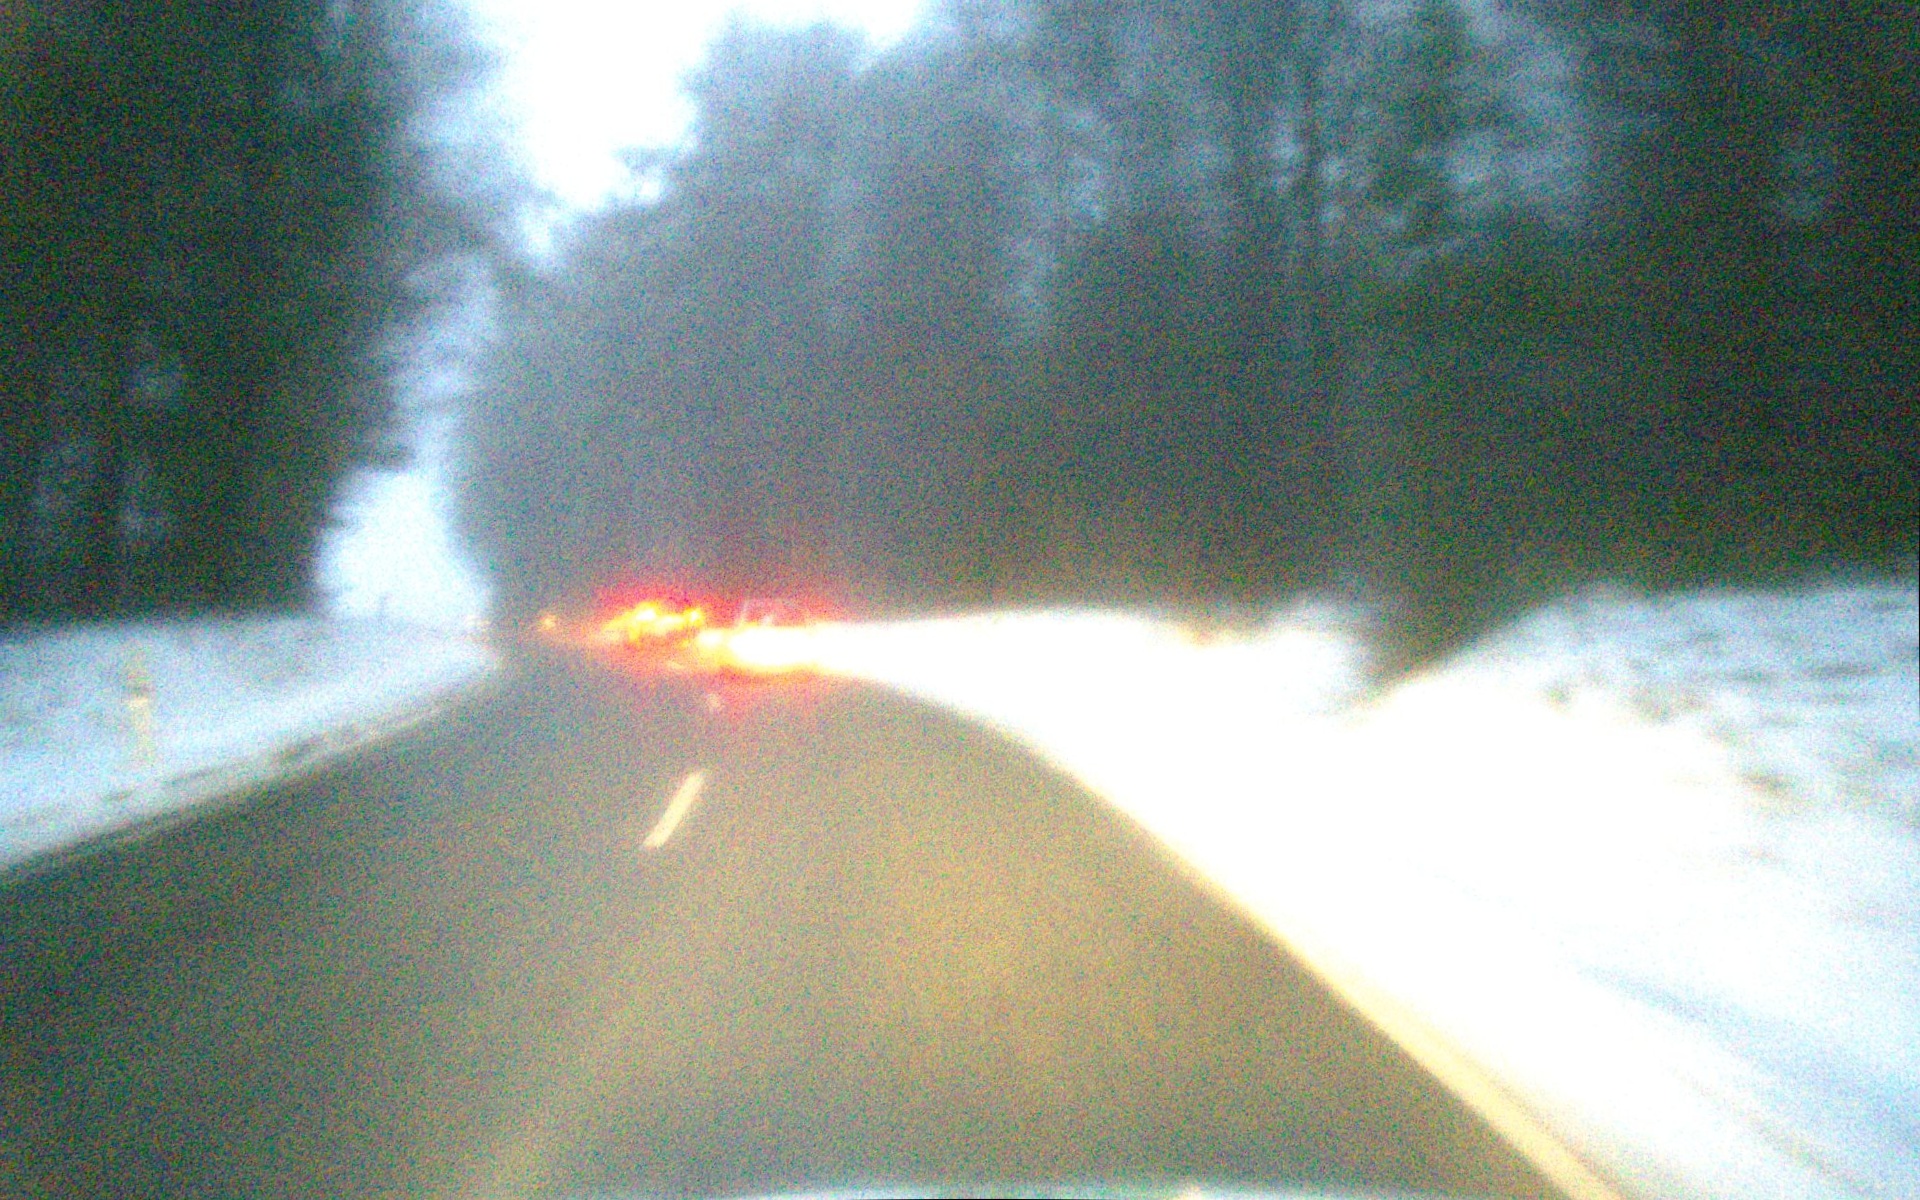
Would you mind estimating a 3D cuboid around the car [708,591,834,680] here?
[{"bbox_3d":[-3.589,0.661,30.877,1.911,1.405,3.988,5,-2,-11],"label":"car"}]

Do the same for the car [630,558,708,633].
[{"bbox_3d":[-8.422,-0.073,47.613,1.959,1.814,3.988,6,-3,-11],"label":"car"}]
